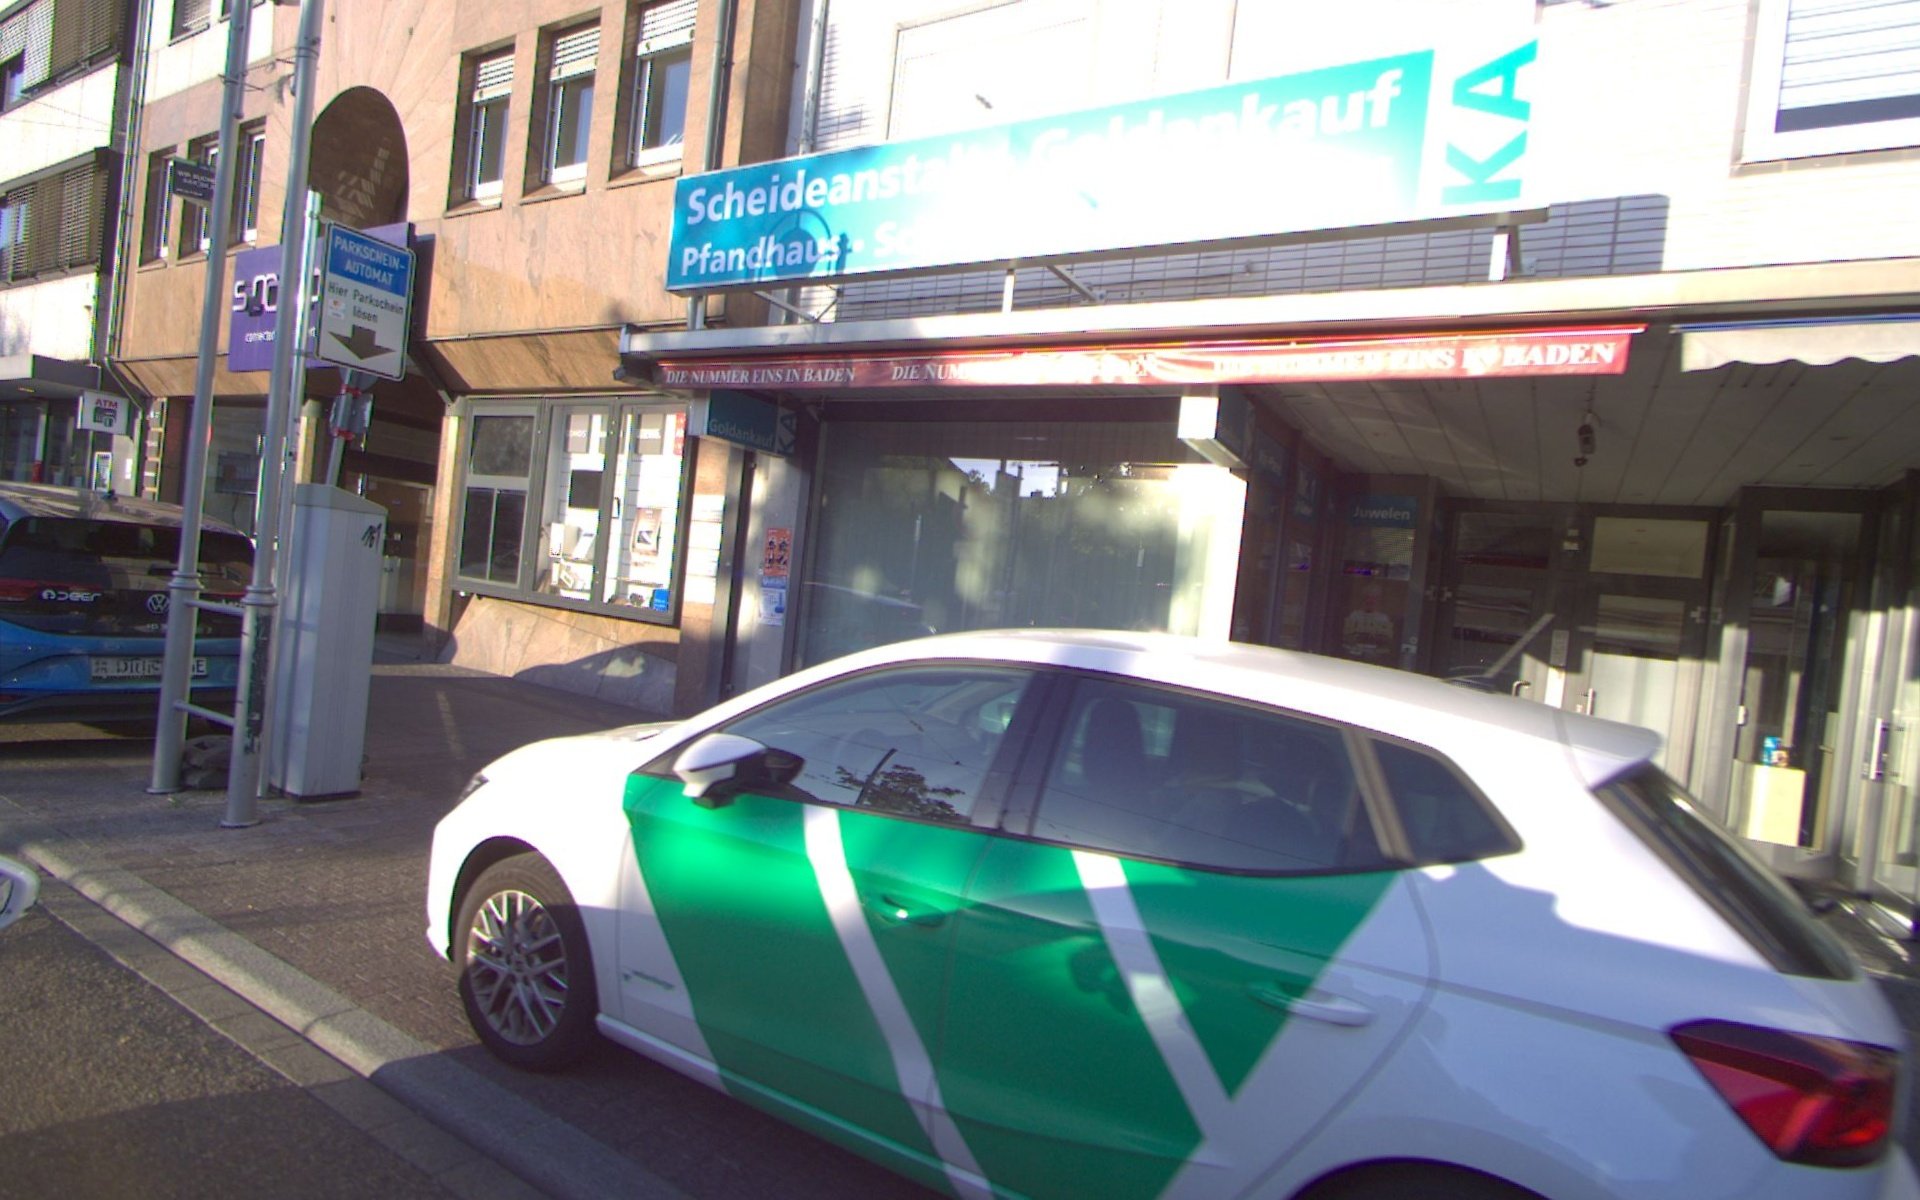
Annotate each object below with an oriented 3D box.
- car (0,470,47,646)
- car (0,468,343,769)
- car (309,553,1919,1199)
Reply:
[{"bbox_3d":[-11.112,-0.648,9.979,4.646,1.605,1.818,6,0,33],"label":"car"},{"bbox_3d":[-6.645,-0.072,7.104,4.755,1.571,1.811,6,0,31],"label":"car"},{"bbox_3d":[0.088,0.767,3.051,4.083,1.453,1.733,5,0,30],"label":"car"}]
